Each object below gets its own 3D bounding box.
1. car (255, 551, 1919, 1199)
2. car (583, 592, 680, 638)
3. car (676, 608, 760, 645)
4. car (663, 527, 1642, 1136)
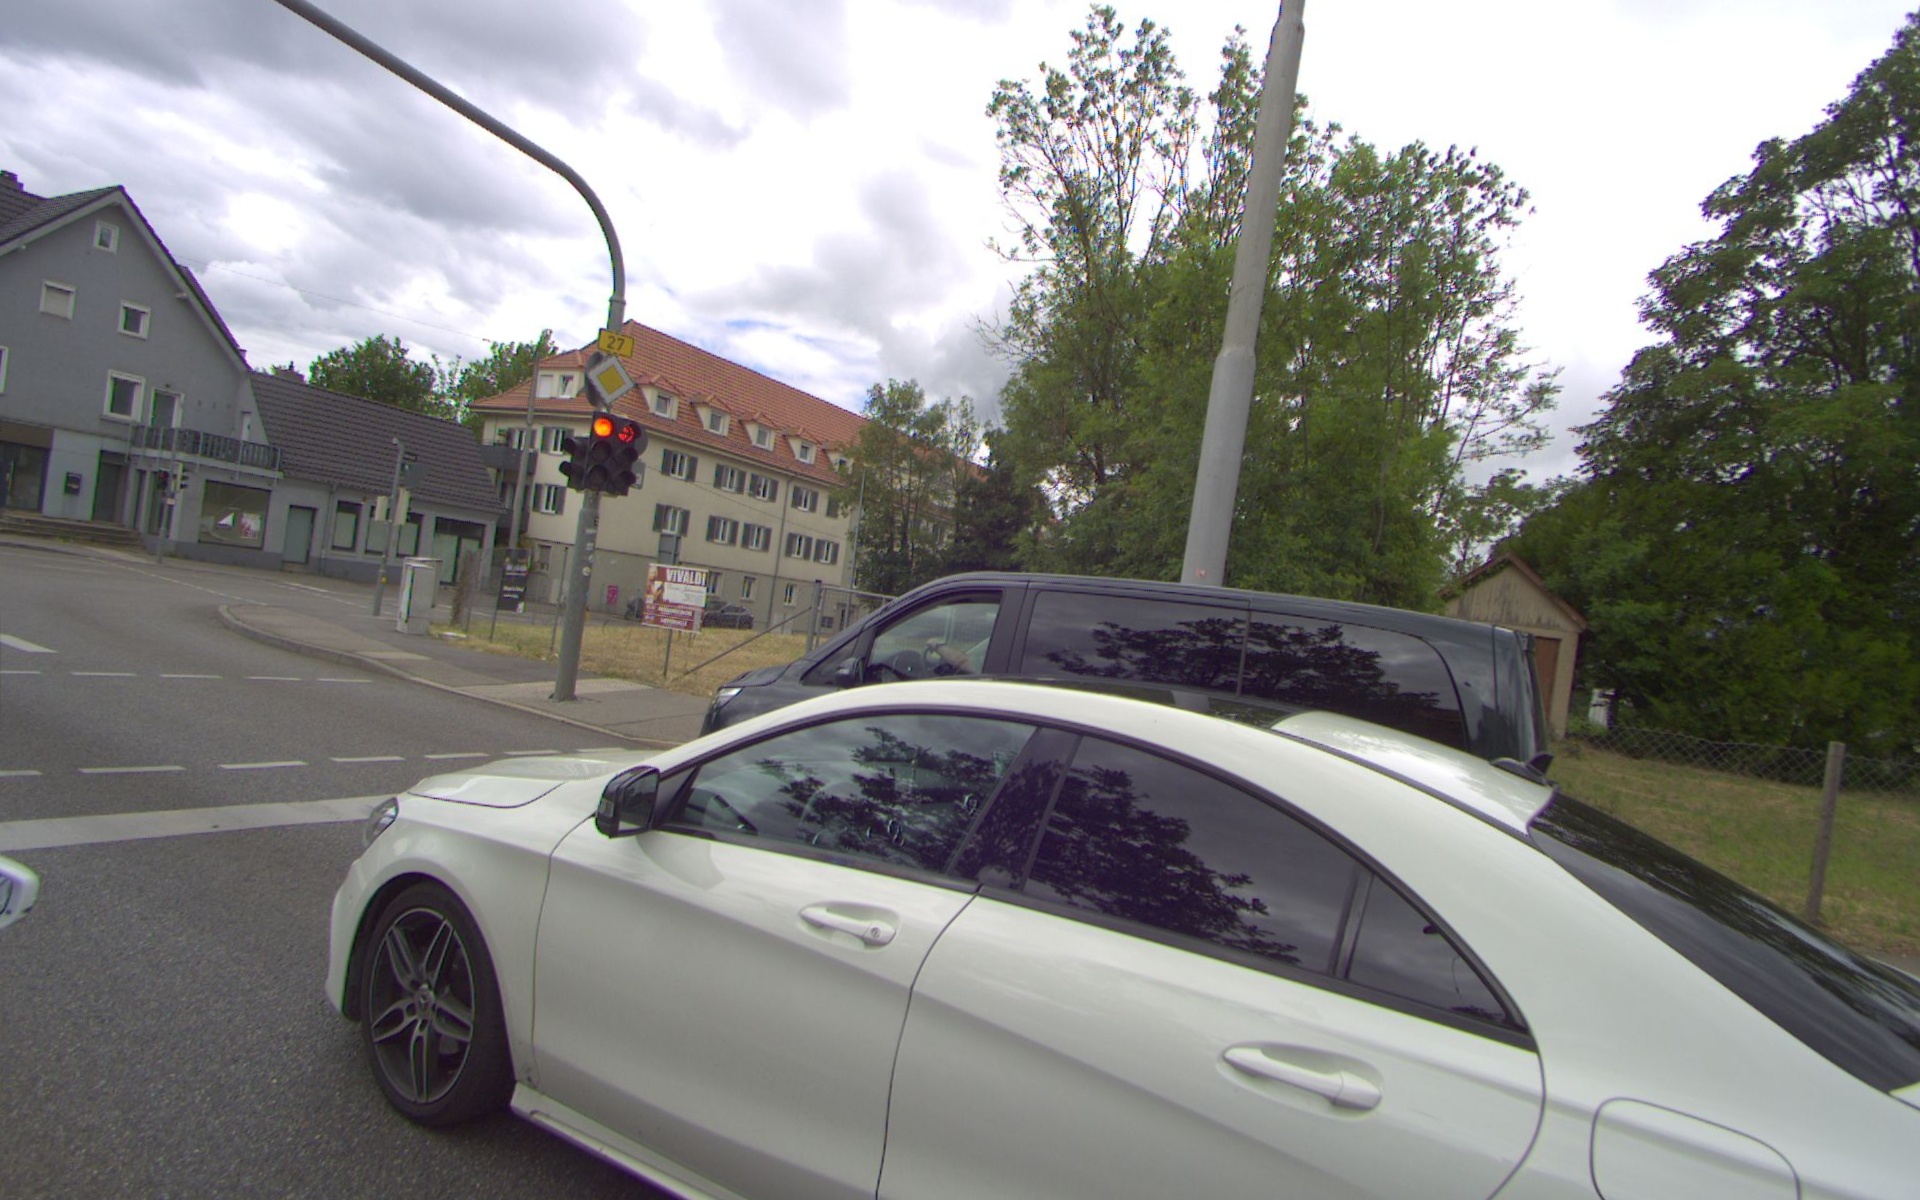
[{"bbox_3d":[0.159,0.849,2.642,4.305,1.451,1.651,7,0,32],"label":"car"},{"bbox_3d":[-15.518,0.738,47.662,1.839,1.554,3.996,7,-2,32],"label":"car"},{"bbox_3d":[-12.623,1.400,52.651,1.839,1.393,3.996,7,-2,32],"label":"car"},{"bbox_3d":[0.816,0.828,5.583,4.631,1.860,1.953,7,-2,32],"label":"car"}]
